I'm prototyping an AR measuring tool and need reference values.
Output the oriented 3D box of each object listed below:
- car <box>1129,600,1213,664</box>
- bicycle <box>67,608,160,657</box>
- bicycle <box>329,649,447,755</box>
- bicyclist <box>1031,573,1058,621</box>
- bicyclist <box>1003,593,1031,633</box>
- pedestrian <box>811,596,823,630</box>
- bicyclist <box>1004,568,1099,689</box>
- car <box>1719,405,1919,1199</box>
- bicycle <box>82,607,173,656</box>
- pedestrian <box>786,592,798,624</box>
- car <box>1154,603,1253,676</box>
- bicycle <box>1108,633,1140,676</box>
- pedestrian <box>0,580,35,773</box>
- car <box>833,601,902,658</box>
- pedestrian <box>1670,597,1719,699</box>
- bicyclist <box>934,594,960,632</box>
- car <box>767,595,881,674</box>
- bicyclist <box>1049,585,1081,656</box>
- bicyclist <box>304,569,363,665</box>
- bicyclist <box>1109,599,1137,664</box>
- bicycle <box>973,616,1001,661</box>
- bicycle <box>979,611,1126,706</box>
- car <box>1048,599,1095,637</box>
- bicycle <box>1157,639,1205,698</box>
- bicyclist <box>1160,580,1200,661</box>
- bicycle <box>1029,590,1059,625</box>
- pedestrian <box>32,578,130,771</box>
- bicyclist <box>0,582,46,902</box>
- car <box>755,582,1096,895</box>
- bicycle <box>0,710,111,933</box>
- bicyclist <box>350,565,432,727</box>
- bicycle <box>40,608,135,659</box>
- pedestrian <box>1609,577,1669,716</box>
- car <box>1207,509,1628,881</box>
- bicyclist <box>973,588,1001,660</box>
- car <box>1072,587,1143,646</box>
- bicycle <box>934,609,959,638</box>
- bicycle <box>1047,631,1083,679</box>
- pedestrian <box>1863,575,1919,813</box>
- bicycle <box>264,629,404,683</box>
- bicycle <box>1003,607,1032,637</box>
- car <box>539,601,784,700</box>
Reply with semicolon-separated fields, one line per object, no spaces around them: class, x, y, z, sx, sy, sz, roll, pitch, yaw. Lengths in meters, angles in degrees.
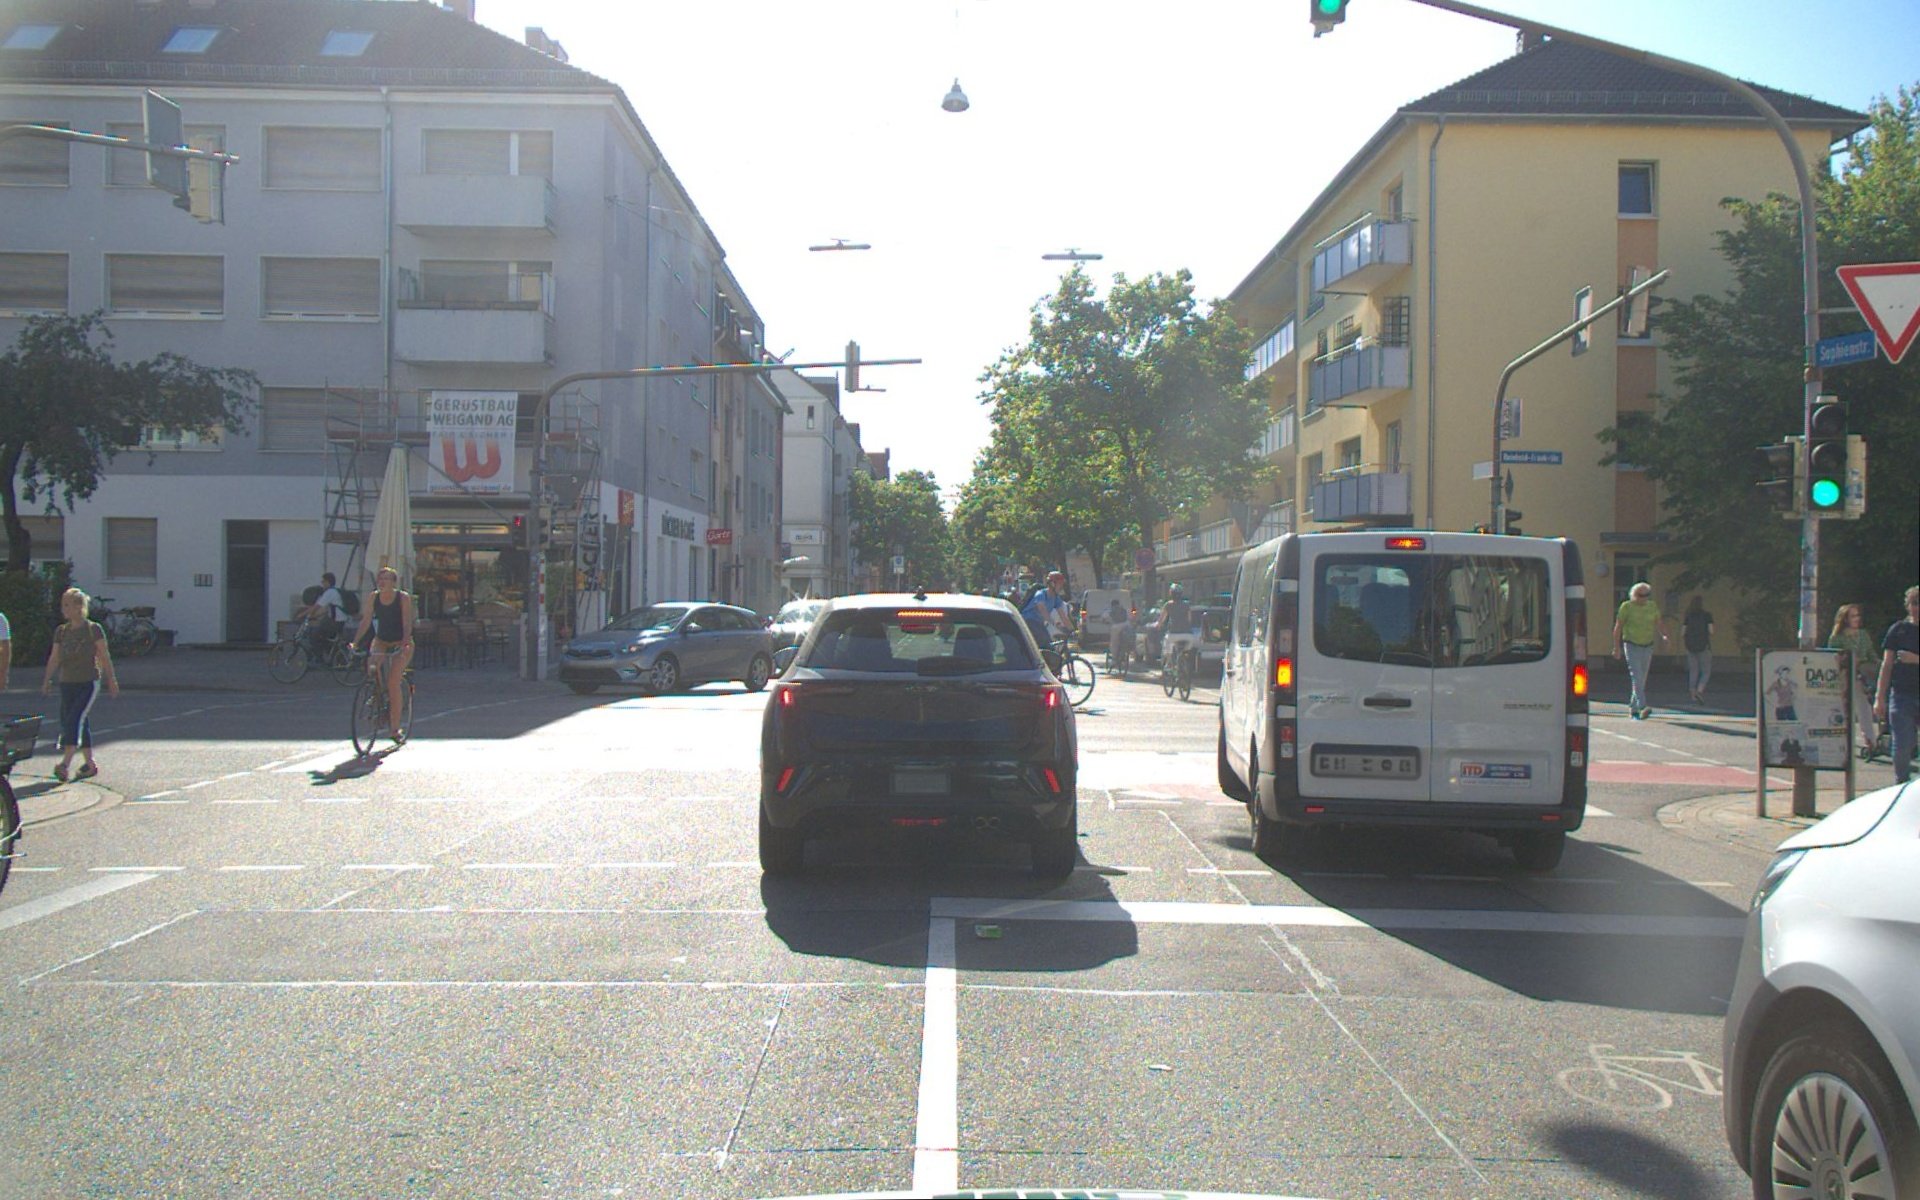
car;5.277;0.776;41.727;1.677;1.509;3.380;0;0;0
bicycle;-16.696;0.643;32.633;1.556;0.956;0.512;0;0;1
bicycle;-5.577;0.971;16.220;0.531;0.918;1.826;0;0;-1
bicyclist;2.181;-0.082;42.777;0.678;1.214;0.595;0;0;0
bicyclist;1.972;0.433;57.038;0.839;1.337;1.210;3;0;-1
pedestrian;-6.841;0.612;79.195;0.566;1.610;0.707;0;0;-6
bicyclist;1.311;0.394;23.709;1.105;1.678;0.799;0;0;42
car;2.859;0.547;1.577;1.928;1.842;4.831;1;0;-2
bicycle;-16.747;0.634;33.284;1.556;0.956;0.512;0;0;1
pedestrian;-8.055;0.383;79.312;0.566;1.493;0.702;0;0;-6
car;5.379;0.848;36.894;1.677;1.509;3.480;0;0;0
bicycle;3.633;1.197;36.682;0.535;0.881;1.876;0;0;0
pedestrian;-8.828;0.679;14.933;0.561;1.718;0.669;1;0;-2
car;-2.561;0.769;45.648;1.769;1.437;4.423;-1;0;-3
pedestrian;11.695;0.754;26.352;0.528;1.598;0.539;0;0;-1
bicyclist;-0.474;0.466;59.673;0.839;1.337;1.210;3;0;-1
car;-2.863;0.720;35.521;1.558;1.593;4.092;0;-1;8
bicyclist;2.097;0.402;33.113;0.576;1.406;0.823;0;0;0
bicyclist;-10.419;0.283;27.539;0.797;1.576;0.553;1;0;-11
bicyclist;3.575;0.691;36.401;0.535;1.406;0.823;0;0;0
bicycle;0.640;0.915;39.839;0.619;1.059;1.795;0;0;-1
bicycle;1.308;0.814;23.709;2.101;1.277;0.799;0;0;43
car;4.553;0.710;67.812;1.677;1.509;3.380;0;0;0
bicycle;3.571;1.092;26.868;0.535;0.881;1.876;0;0;0
bicyclist;3.581;0.330;26.925;0.535;1.284;0.803;0;0;0
bicycle;2.165;0.178;42.764;0.677;0.881;1.876;0;0;0
pedestrian;-7.492;0.625;14.113;0.520;1.609;0.563;1;0;0
bicyclist;-4.510;0.628;7.283;0.531;1.415;0.788;0;0;-1
car;-0.204;0.718;10.447;1.726;1.586;3.999;1;0;-1
bicycle;-4.525;1.016;7.405;0.531;0.918;1.825;0;0;-1
bicyclist;-5.575;0.436;16.235;0.531;1.547;0.774;0;0;-1
bicycle;-16.771;0.636;31.822;1.556;0.956;0.512;0;0;1
pedestrian;8.907;0.603;21.702;0.515;1.792;0.623;0;0;-2
car;2.888;0.532;11.632;1.927;1.974;5.058;2;0;5
bicyclist;0.640;0.564;39.598;0.619;1.698;1.050;0;0;-1
car;4.882;0.515;55.391;2.004;1.879;4.584;0;0;0
bicycle;-0.487;0.836;59.562;0.839;0.961;2.307;3;0;-1
bicycle;2.093;1.082;33.046;0.607;0.881;1.876;0;0;0
pedestrian;7.555;0.733;13.181;0.592;1.854;0.628;0;0;26
bicycle;-10.404;0.927;27.541;2.087;0.848;0.553;1;0;-12
bicycle;1.961;0.745;57.048;0.839;0.961;2.307;3;0;-1
car;-4.738;0.748;26.836;1.801;1.459;4.172;0;0;26
